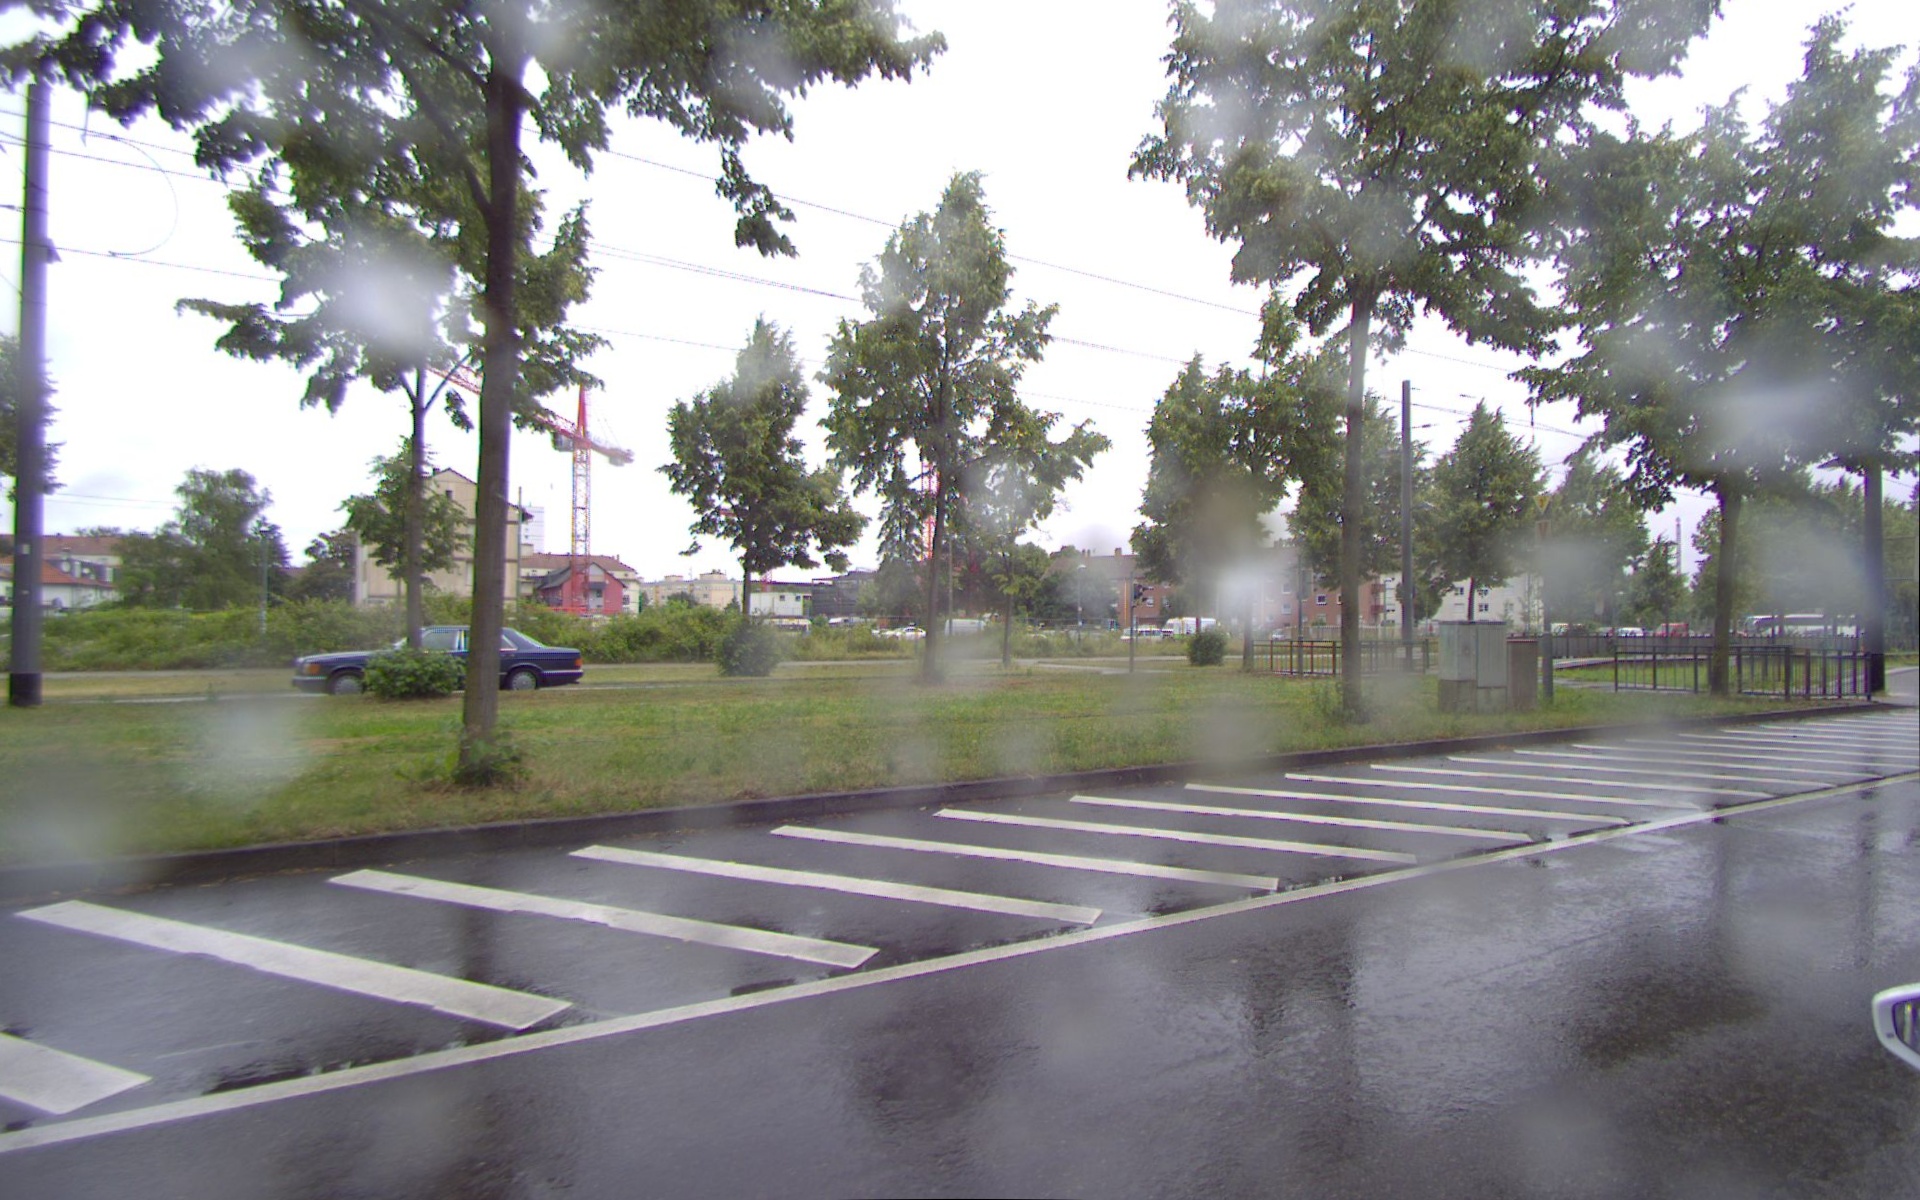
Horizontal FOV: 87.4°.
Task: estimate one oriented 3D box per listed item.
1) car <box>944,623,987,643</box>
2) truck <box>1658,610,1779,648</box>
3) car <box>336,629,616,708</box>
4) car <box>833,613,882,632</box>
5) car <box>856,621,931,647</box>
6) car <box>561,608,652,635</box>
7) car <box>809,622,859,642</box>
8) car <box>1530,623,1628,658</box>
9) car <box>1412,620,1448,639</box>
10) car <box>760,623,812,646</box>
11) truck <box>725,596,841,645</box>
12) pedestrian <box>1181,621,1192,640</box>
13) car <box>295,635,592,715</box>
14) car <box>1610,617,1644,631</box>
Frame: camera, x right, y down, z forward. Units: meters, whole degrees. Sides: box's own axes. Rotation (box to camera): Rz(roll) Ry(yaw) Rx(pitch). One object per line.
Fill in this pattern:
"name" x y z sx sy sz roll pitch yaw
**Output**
"car" 0.578 3.194 97.781 3.969 1.840 1.808 -1 0 -42
"truck" 98.807 3.794 131.217 12.280 4.654 3.393 -2 0 33
"car" -9.377 1.269 19.658 4.800 1.283 1.540 0 -1 -33
"car" -12.037 2.689 118.361 5.462 2.040 1.980 -1 0 -36
"car" -5.488 2.795 83.532 5.940 1.840 2.073 -2 0 -33
"car" -24.750 1.472 70.452 5.714 1.694 2.035 -2 0 -33
"car" -10.460 2.656 83.497 3.770 1.539 1.732 -2 0 -32
"car" 29.788 1.936 48.269 5.443 1.628 1.939 1 -2 -34
"car" 55.089 3.470 117.750 3.954 2.040 1.983 -2 0 -32
"car" -14.907 2.939 86.154 3.969 1.840 1.808 -1 0 -42
"truck" -21.622 2.448 123.769 6.106 5.468 13.254 -2 -1 38
"pedestrian" 21.048 2.853 93.166 0.690 1.694 0.671 -2 0 -39
"car" -9.775 1.364 19.293 4.921 1.315 1.480 1 -1 -32
"car" 84.825 3.070 127.771 3.485 1.762 1.700 -2 0 36
